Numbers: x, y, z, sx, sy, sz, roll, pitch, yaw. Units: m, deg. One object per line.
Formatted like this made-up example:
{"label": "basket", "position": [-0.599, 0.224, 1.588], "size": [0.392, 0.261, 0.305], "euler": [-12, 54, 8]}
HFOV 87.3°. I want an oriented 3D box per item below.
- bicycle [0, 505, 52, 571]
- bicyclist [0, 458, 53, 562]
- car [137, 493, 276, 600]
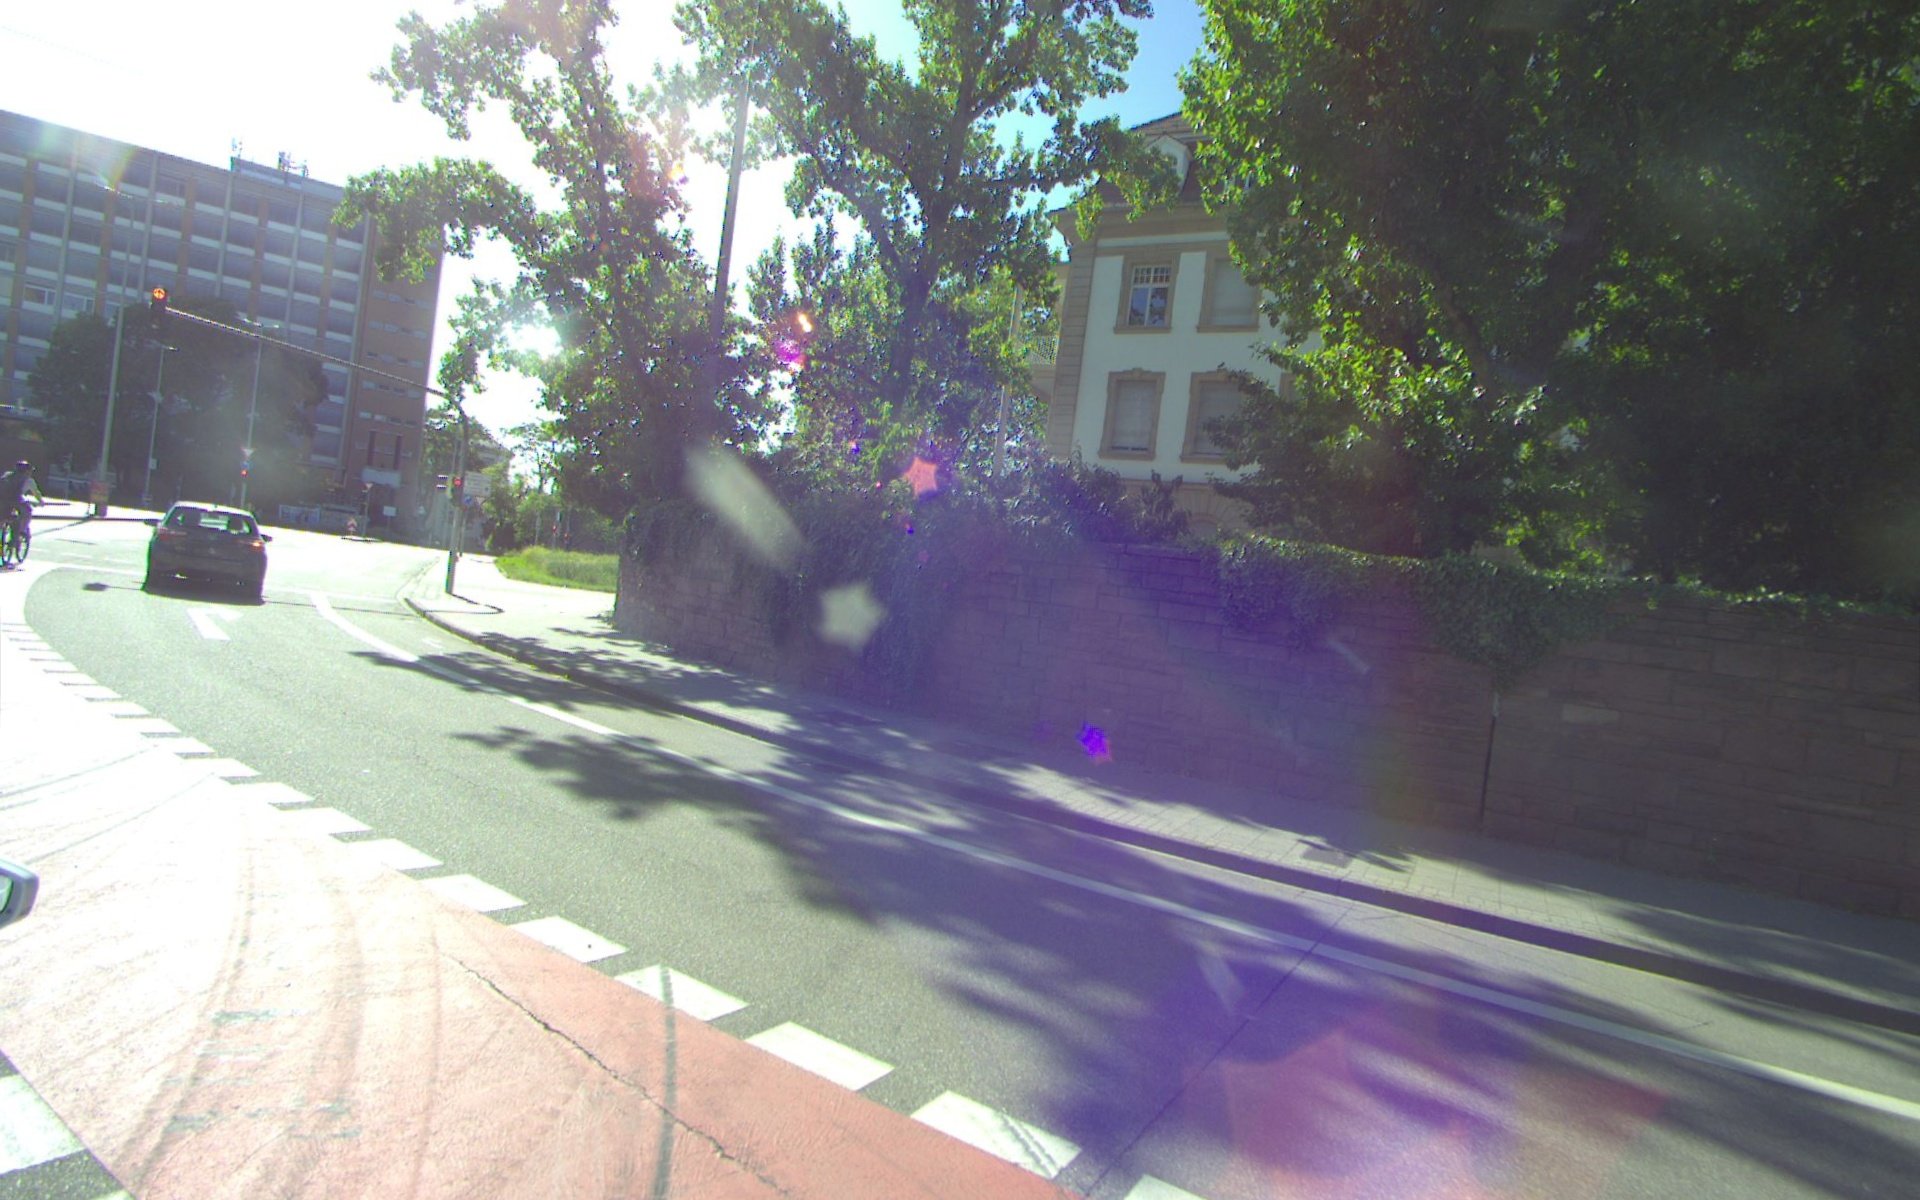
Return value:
{"label": "bicycle", "position": [-16.090, -1.078, 17.019], "size": [0.718, 0.971, 1.866], "euler": [9, -1, -34]}
{"label": "bicyclist", "position": [-15.985, -1.529, 16.960], "size": [0.717, 1.645, 1.045], "euler": [8, 0, -34]}
{"label": "car", "position": [-13.906, -1.021, 18.514], "size": [1.749, 1.560, 3.618], "euler": [8, 0, -39]}
